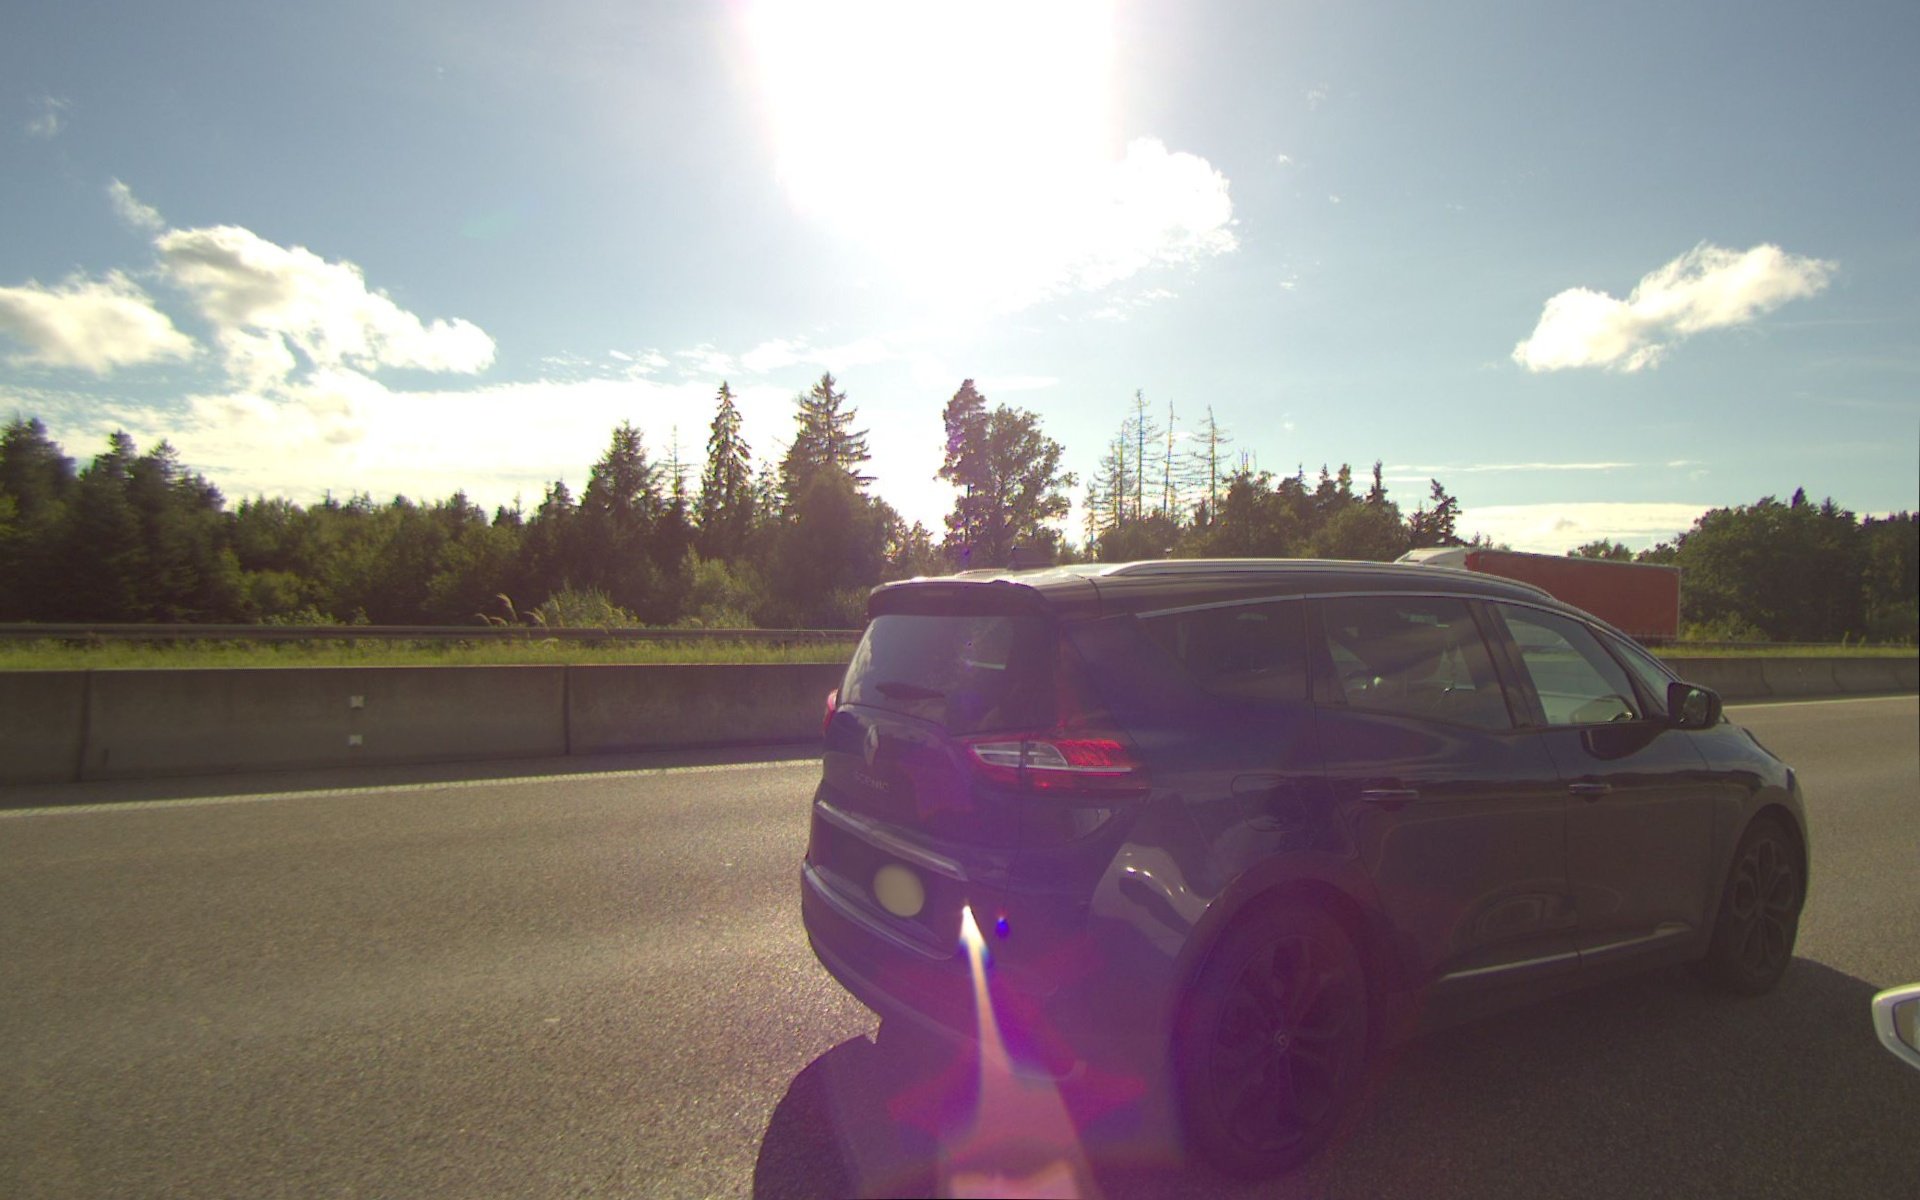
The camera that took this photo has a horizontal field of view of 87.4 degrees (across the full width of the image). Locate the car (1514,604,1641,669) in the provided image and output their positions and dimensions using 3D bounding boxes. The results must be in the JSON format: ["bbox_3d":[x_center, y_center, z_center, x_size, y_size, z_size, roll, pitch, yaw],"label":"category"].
[{"bbox_3d":[20.778,1.221,33.782,3.952,2.040,1.984,2,0,-29],"label":"car"}]

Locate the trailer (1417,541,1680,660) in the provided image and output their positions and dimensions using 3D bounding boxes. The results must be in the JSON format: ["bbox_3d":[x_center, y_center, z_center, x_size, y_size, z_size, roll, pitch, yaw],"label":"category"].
[{"bbox_3d":[23.464,0.167,39.629,12.638,4.163,3.007,2,0,-30],"label":"trailer"}]

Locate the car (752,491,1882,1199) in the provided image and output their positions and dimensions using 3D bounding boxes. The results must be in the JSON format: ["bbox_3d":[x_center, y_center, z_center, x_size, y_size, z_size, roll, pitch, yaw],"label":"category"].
[{"bbox_3d":[1.637,0.683,4.130,4.477,1.729,1.983,2,0,-31],"label":"car"}]

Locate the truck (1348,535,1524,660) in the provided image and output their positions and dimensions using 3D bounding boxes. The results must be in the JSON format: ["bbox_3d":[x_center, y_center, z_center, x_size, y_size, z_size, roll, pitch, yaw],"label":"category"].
[{"bbox_3d":[17.052,-0.026,35.978,5.600,4.163,3.010,2,0,-29],"label":"truck"}]

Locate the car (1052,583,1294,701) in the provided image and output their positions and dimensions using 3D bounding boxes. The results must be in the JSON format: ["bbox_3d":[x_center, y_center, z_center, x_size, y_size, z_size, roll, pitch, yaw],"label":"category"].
[{"bbox_3d":[4.115,0.769,19.284,4.301,2.040,1.984,2,0,-30],"label":"car"}]
